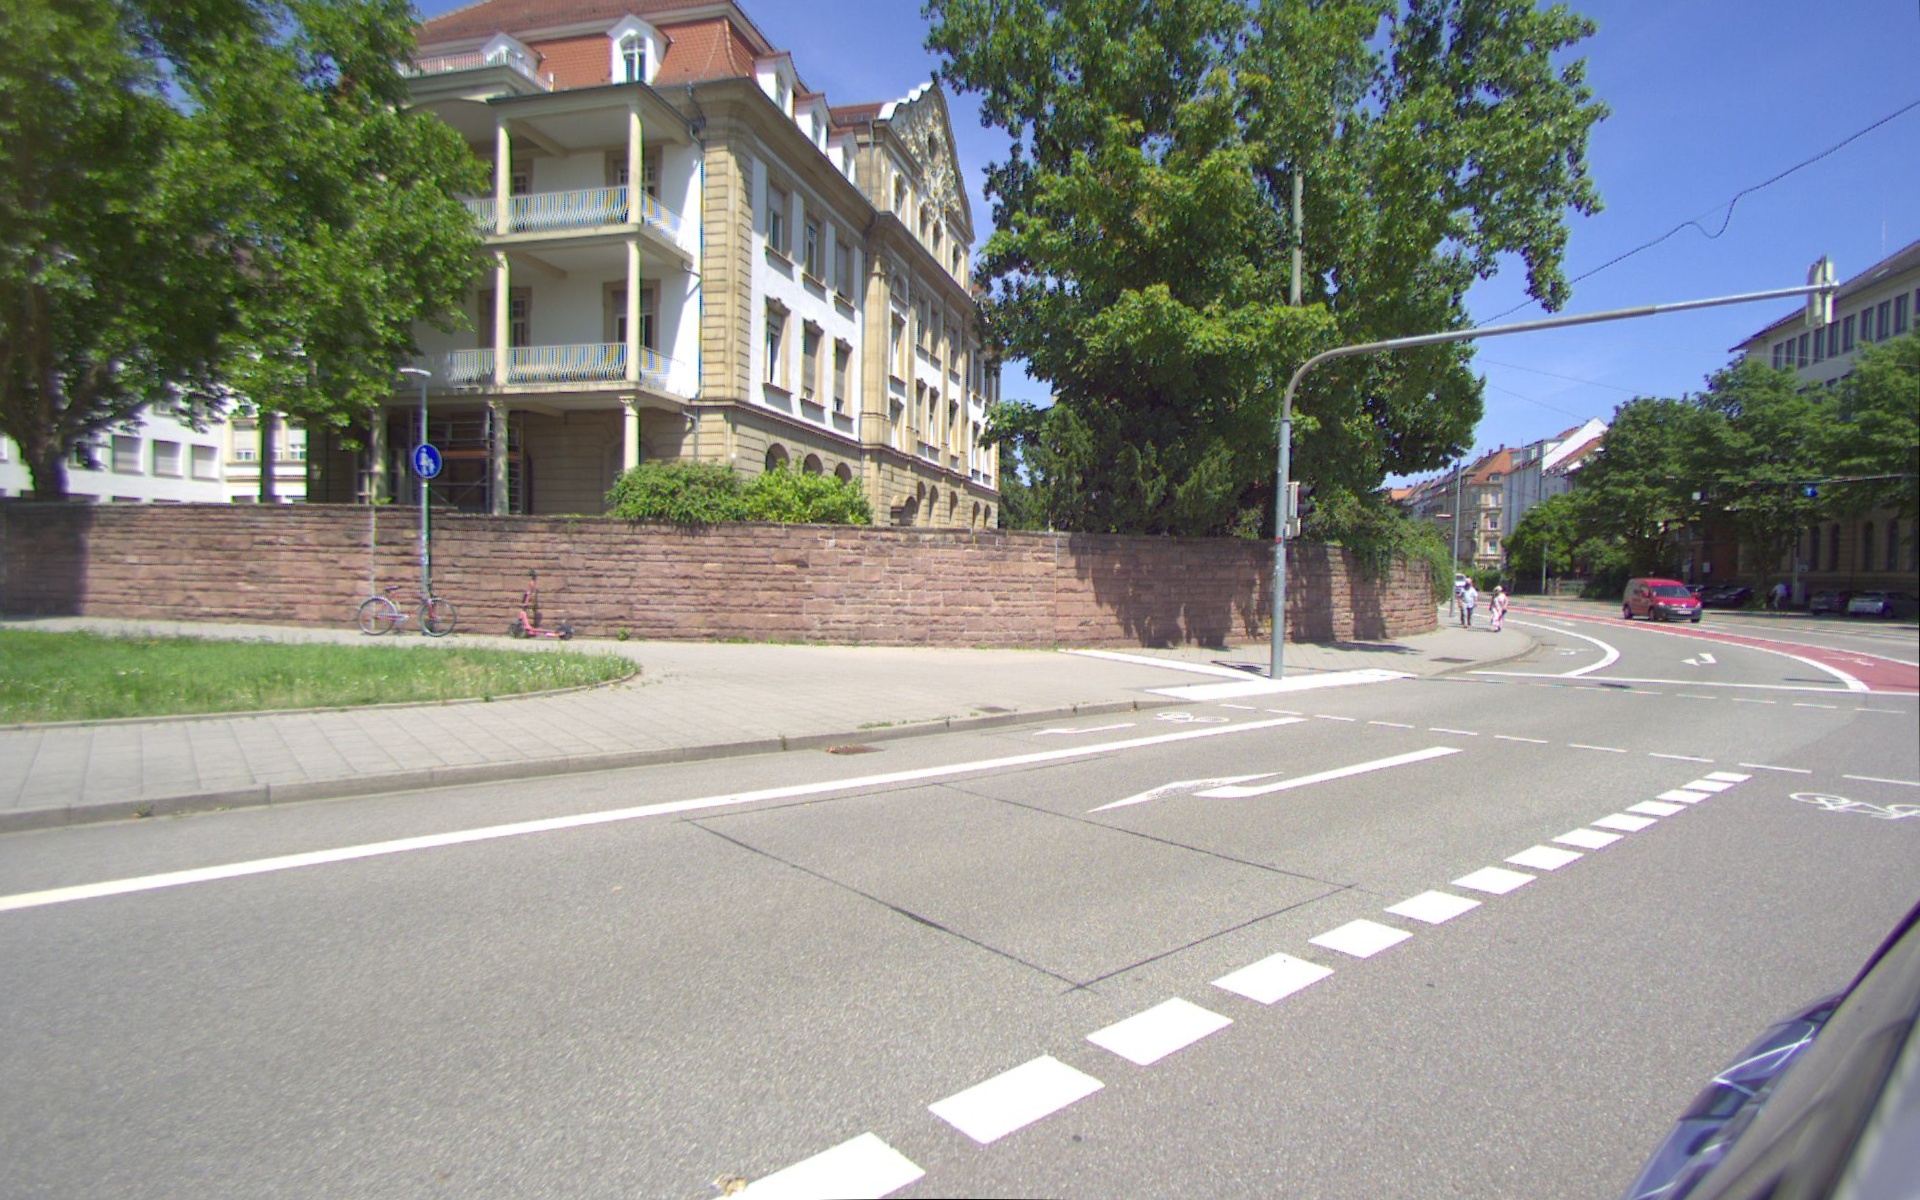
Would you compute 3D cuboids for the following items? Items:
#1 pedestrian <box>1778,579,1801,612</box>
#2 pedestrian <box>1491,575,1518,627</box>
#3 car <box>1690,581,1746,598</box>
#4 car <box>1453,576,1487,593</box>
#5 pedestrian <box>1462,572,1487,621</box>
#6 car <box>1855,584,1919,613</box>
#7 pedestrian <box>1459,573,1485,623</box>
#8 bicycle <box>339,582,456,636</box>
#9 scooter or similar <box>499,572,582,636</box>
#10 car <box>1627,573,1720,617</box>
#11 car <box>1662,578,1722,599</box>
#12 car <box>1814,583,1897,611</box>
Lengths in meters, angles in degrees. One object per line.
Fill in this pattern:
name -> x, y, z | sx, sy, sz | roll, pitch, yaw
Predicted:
pedestrian -> 44.347, -0.243, 54.111 | 0.715, 1.691, 0.640 | 2, 1, 20
pedestrian -> 17.702, 0.017, 32.905 | 0.597, 1.631, 0.555 | 4, 1, 18
car -> 52.334, -0.731, 69.868 | 2.931, 1.113, 1.282 | 0, 0, -3
car -> 43.180, -1.336, 85.747 | 1.809, 1.409, 4.256 | 2, 2, 17
pedestrian -> 18.479, -0.126, 36.379 | 0.597, 1.734, 0.555 | 4, 1, 17
car -> 47.989, -0.101, 51.492 | 3.484, 1.438, 1.572 | 0, 0, -1
pedestrian -> 17.296, -0.060, 34.172 | 0.597, 1.631, 0.555 | 4, 1, 18
bicycle -> -9.953, 0.156, 17.945 | 1.743, 0.940, 0.678 | 0, 0, 5
scooter or similar -> -7.480, 0.063, 18.062 | 1.323, 1.122, 0.375 | 0, 0, -2
car -> 30.567, -0.202, 43.513 | 1.807, 1.788, 4.261 | 0, 0, 14
car -> 53.389, -0.826, 73.842 | 3.504, 1.471, 1.619 | 0, 0, -13
car -> 48.149, -0.170, 54.424 | 3.089, 1.481, 1.572 | 0, 0, -2
